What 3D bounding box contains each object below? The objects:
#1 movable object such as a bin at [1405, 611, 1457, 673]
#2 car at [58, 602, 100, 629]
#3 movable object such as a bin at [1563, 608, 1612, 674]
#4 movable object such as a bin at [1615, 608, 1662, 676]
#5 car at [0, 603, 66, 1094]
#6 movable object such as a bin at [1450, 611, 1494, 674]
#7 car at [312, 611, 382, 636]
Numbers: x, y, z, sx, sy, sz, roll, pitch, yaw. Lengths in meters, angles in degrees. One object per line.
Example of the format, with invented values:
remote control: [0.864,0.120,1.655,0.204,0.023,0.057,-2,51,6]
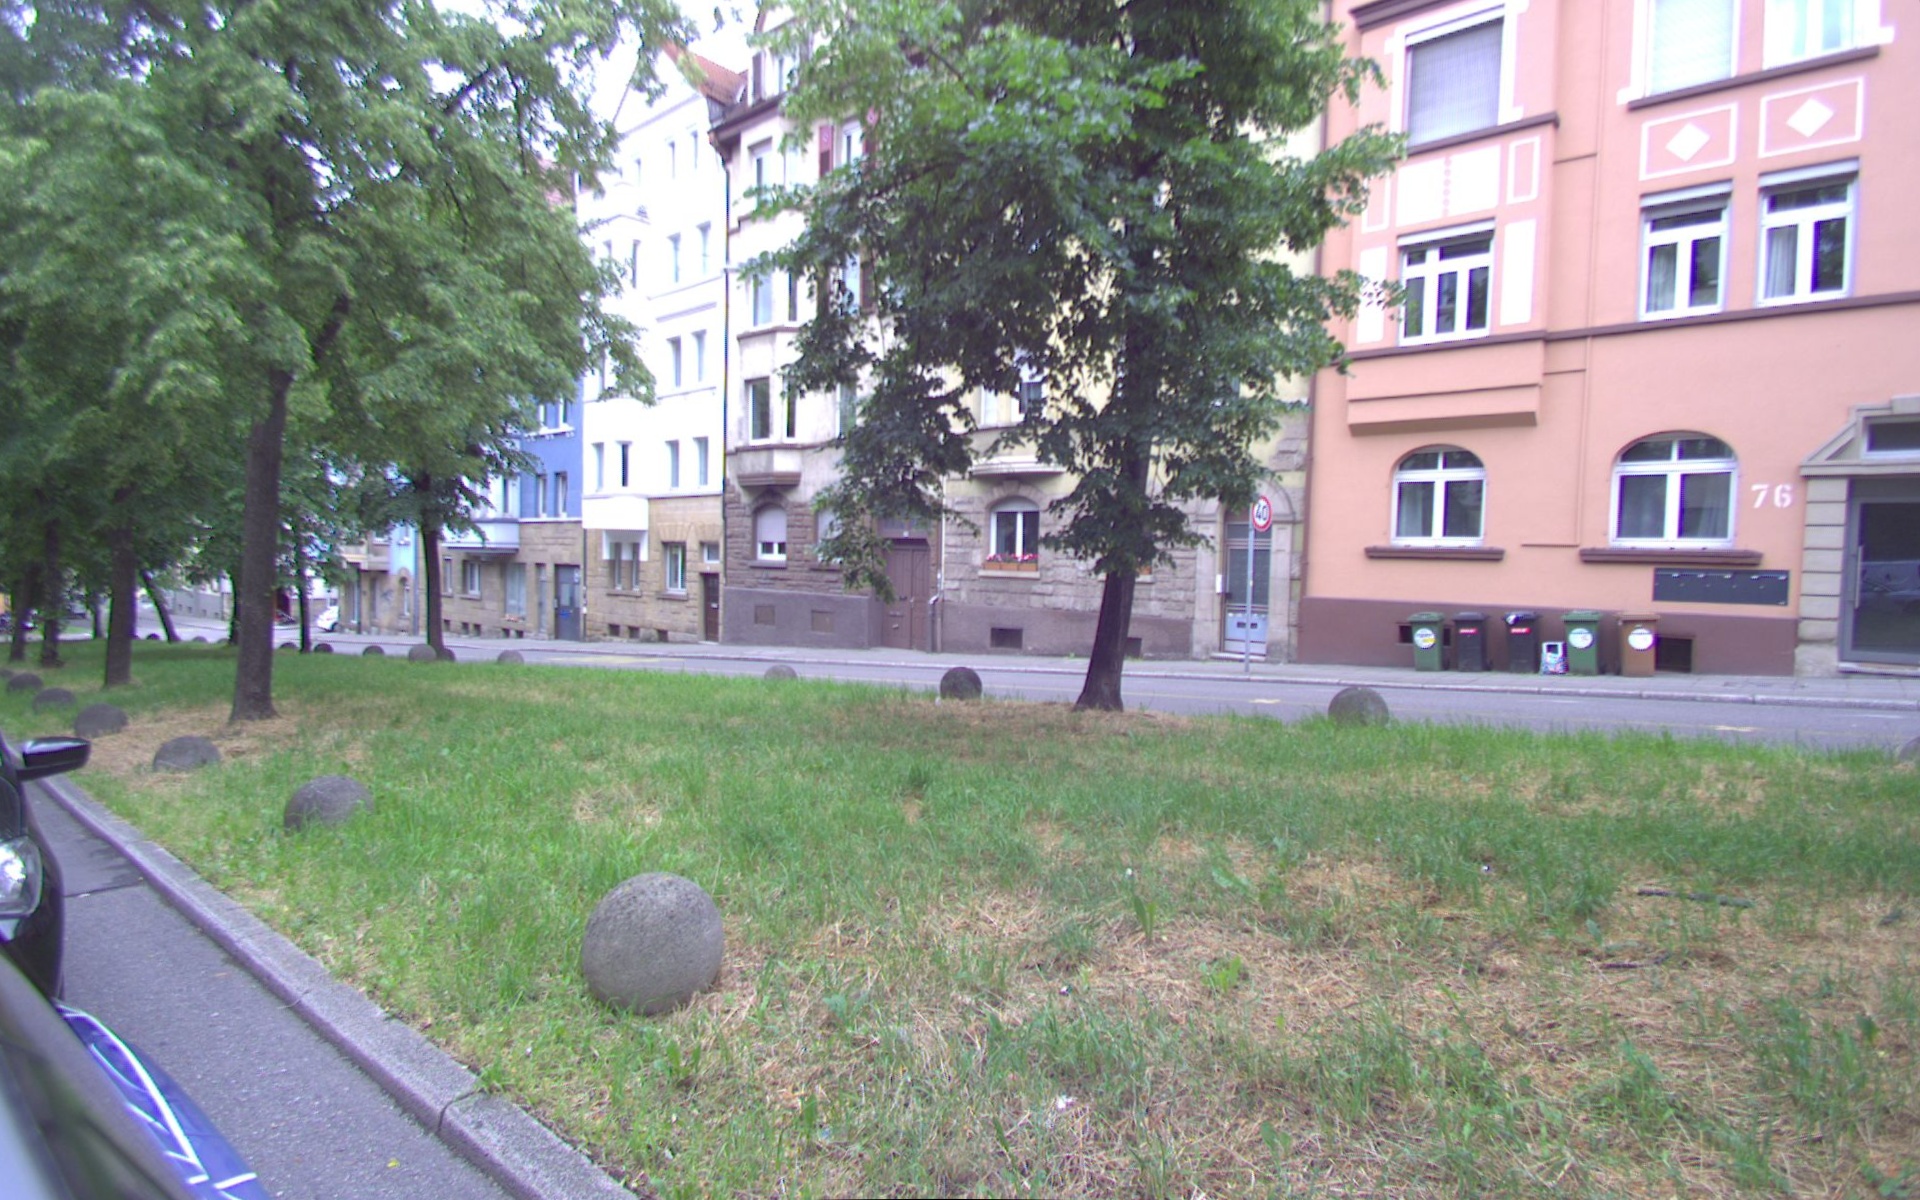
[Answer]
movable object such as a bin: [7.532,0.659,16.186,0.617,0.955,0.610,-1,0,40]
car: [-67.614,1.172,77.672,5.308,1.959,1.971,-2,0,44]
movable object such as a bin: [9.156,0.589,14.761,0.558,0.928,0.648,-1,0,36]
movable object such as a bin: [9.633,0.583,14.355,0.514,0.928,0.750,-1,0,36]
car: [-4.560,0.746,3.634,3.295,1.476,1.590,-1,-2,41]
movable object such as a bin: [8.005,0.651,15.814,0.531,0.953,0.575,-1,0,35]
car: [-35.371,1.313,58.456,3.244,1.341,1.674,-1,0,-40]
